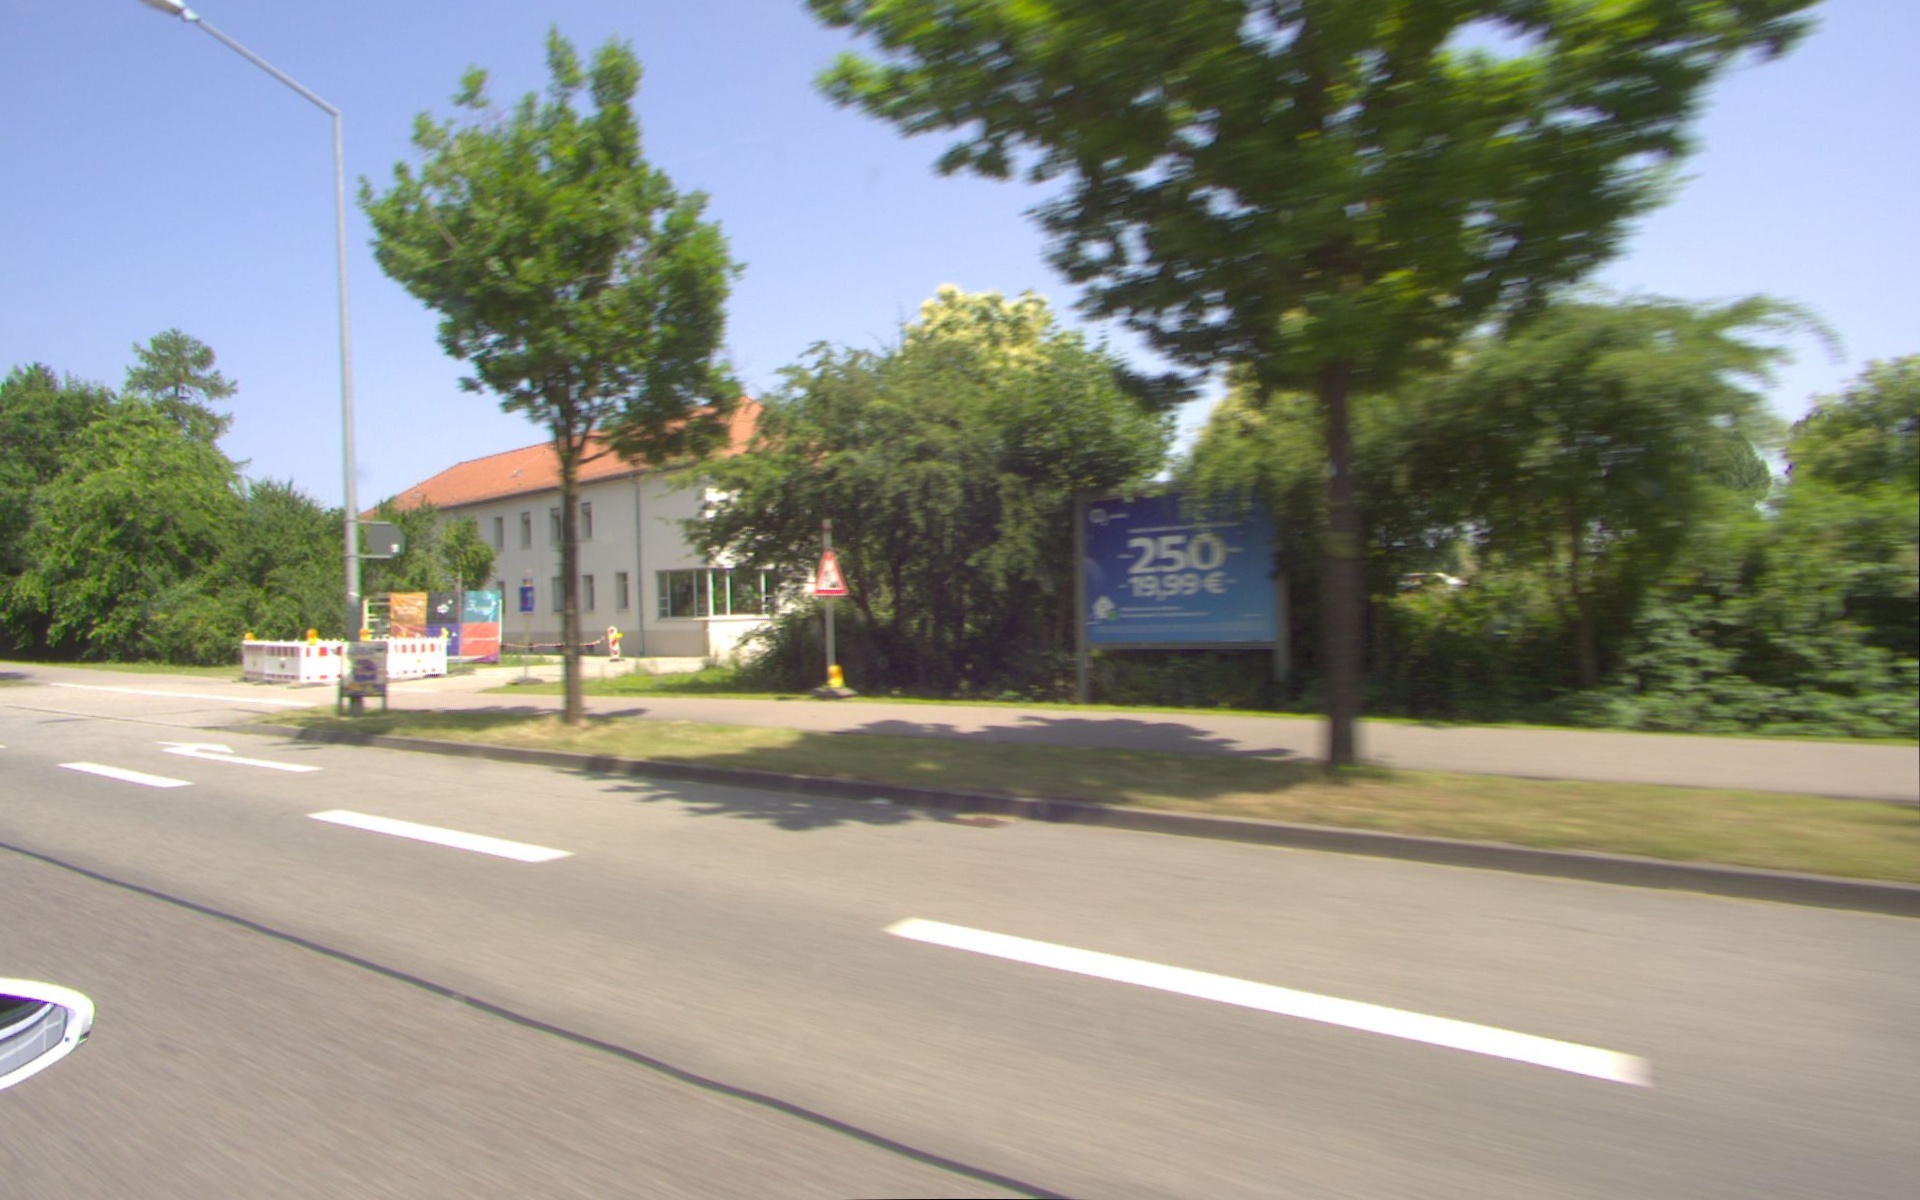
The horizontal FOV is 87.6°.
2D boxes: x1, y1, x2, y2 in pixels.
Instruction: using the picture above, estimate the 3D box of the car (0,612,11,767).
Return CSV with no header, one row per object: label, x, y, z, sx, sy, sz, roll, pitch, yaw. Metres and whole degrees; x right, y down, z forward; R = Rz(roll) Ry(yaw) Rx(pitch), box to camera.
car,-12.124,0.971,10.903,3.837,1.633,1.788,-1,0,34
